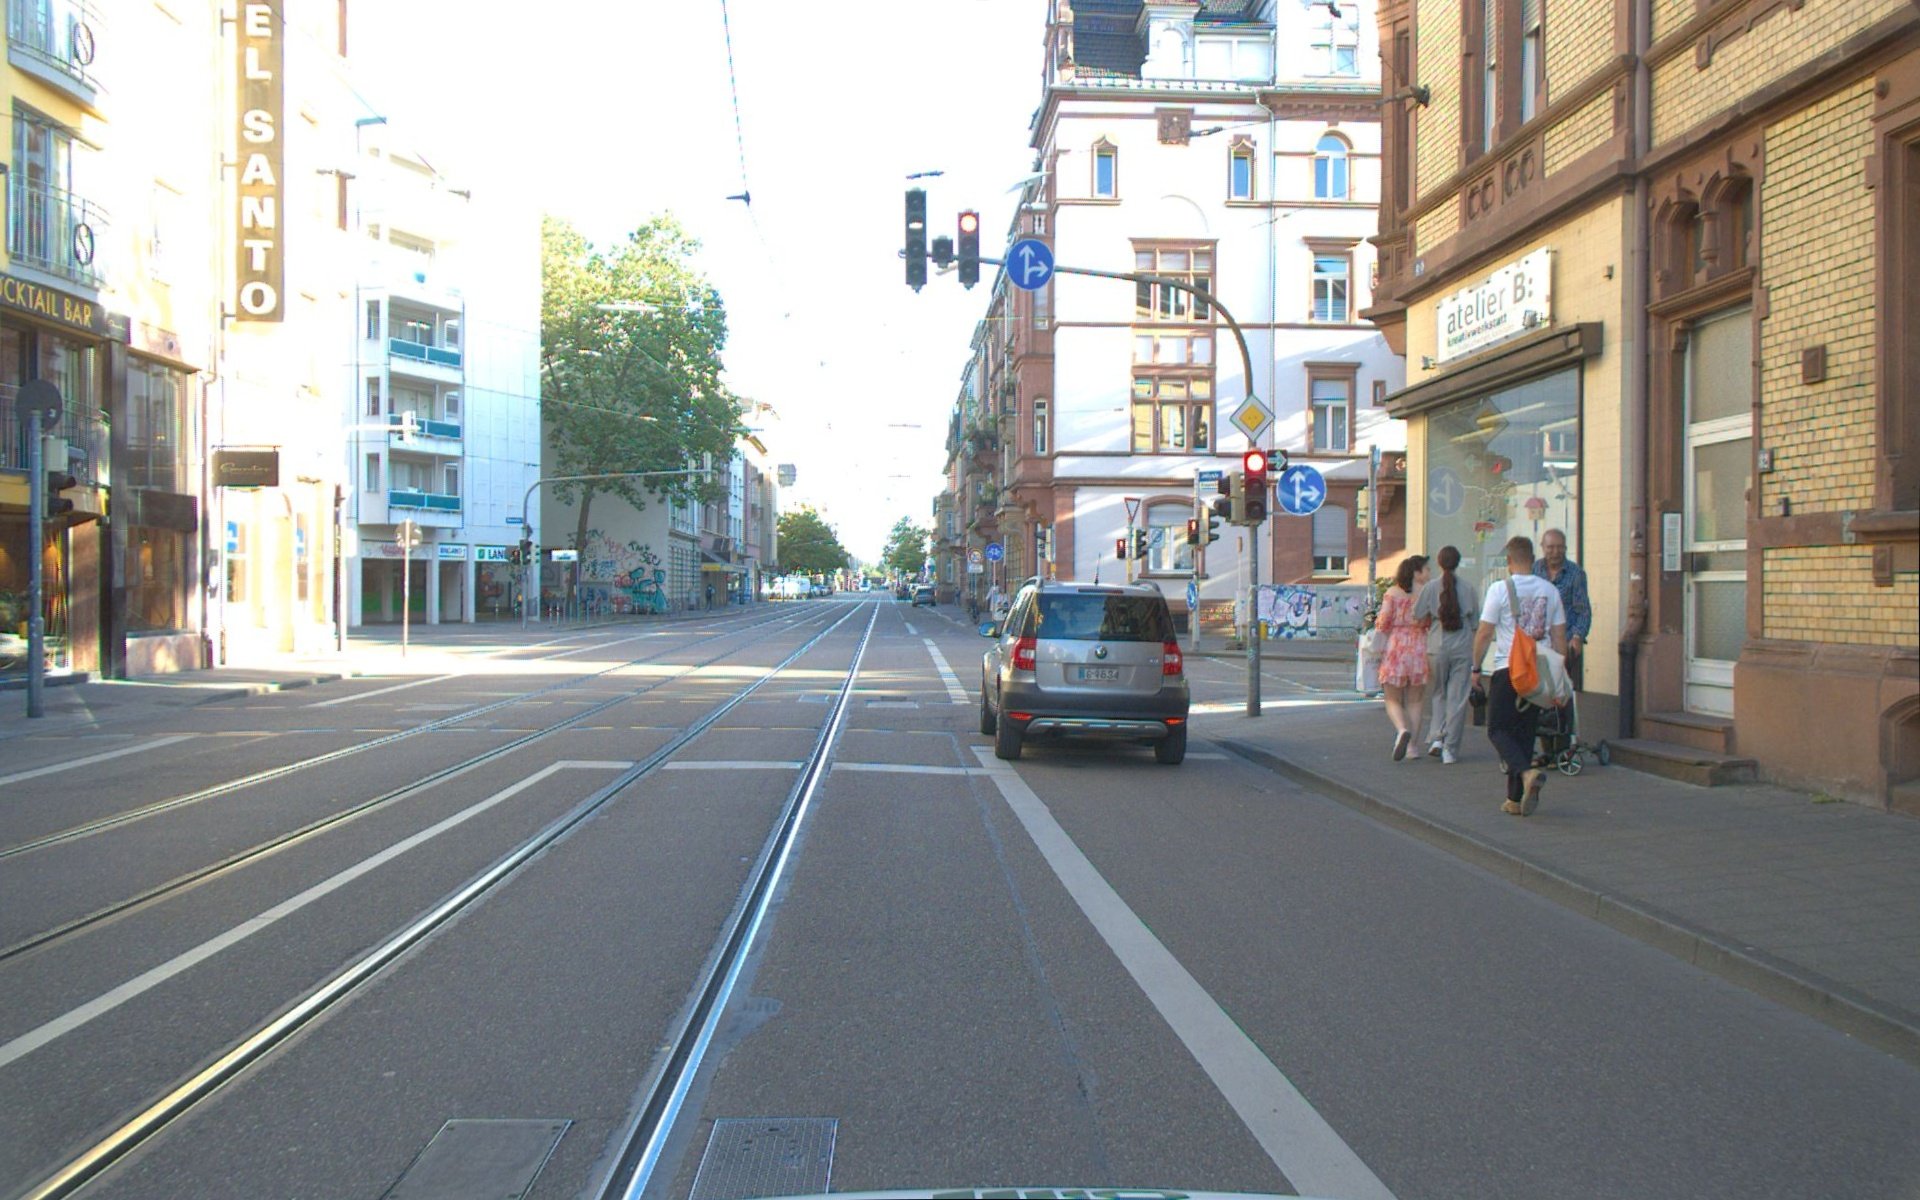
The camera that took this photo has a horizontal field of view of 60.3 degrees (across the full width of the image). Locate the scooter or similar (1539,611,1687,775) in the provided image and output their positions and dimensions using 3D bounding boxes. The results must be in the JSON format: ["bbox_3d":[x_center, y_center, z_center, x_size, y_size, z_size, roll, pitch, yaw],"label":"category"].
[{"bbox_3d":[4.795,0.672,12.176,0.789,1.088,0.521,-6,1,-3],"label":"scooter or similar"}]

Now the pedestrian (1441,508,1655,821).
[{"bbox_3d":[3.726,0.378,10.567,0.790,1.830,1.091,-5,1,-4],"label":"pedestrian"}]

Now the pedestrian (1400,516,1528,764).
[{"bbox_3d":[4.163,0.317,13.689,0.677,1.941,0.670,-5,1,-4],"label":"pedestrian"}]

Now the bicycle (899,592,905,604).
[{"bbox_3d":[-5.517,-0.198,157.050,0.563,1.048,1.894,-1,1,-1],"label":"bicycle"}]

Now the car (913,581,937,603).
[{"bbox_3d":[-2.877,-0.669,136.229,1.910,1.713,3.999,-1,1,-1],"label":"car"}]

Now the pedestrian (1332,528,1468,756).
[{"bbox_3d":[3.760,0.340,14.192,0.790,1.830,0.761,-5,1,-4],"label":"pedestrian"}]

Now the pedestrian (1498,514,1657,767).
[{"bbox_3d":[4.768,0.294,12.814,0.789,1.830,0.761,-5,1,-3],"label":"pedestrian"}]

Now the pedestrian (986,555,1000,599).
[{"bbox_3d":[1.375,-0.957,68.804,0.533,1.811,0.504,-1,1,-2],"label":"pedestrian"}]

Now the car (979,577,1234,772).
[{"bbox_3d":[1.309,0.623,16.427,1.954,1.646,3.998,2,1,-3],"label":"car"}]

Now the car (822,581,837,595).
[{"bbox_3d":[-19.493,-1.831,247.199,1.954,2.049,3.998,-1,1,-3],"label":"car"}]

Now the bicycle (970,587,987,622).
[{"bbox_3d":[0.735,0.170,67.201,0.640,1.346,2.177,-1,1,0],"label":"bicycle"}]

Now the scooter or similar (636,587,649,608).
[{"bbox_3d":[-16.633,-0.152,86.730,0.506,1.063,1.477,-1,1,-4],"label":"scooter or similar"}]

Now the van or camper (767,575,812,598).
[{"bbox_3d":[-19.147,-1.536,185.628,4.593,2.608,1.977,-1,0,-34],"label":"van or camper"}]

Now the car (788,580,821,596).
[{"bbox_3d":[-20.854,-1.615,221.172,3.941,2.049,1.982,-2,1,-28],"label":"car"}]

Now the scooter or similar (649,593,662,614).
[{"bbox_3d":[-15.963,0.163,86.801,0.506,1.075,1.477,-1,1,-4],"label":"scooter or similar"}]

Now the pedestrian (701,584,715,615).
[{"bbox_3d":[-14.532,-0.039,95.498,0.687,1.758,0.647,-1,1,-3],"label":"pedestrian"}]

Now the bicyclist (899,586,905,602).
[{"bbox_3d":[-5.527,-0.578,157.041,0.563,1.581,0.595,-1,1,-2],"label":"bicyclist"}]
